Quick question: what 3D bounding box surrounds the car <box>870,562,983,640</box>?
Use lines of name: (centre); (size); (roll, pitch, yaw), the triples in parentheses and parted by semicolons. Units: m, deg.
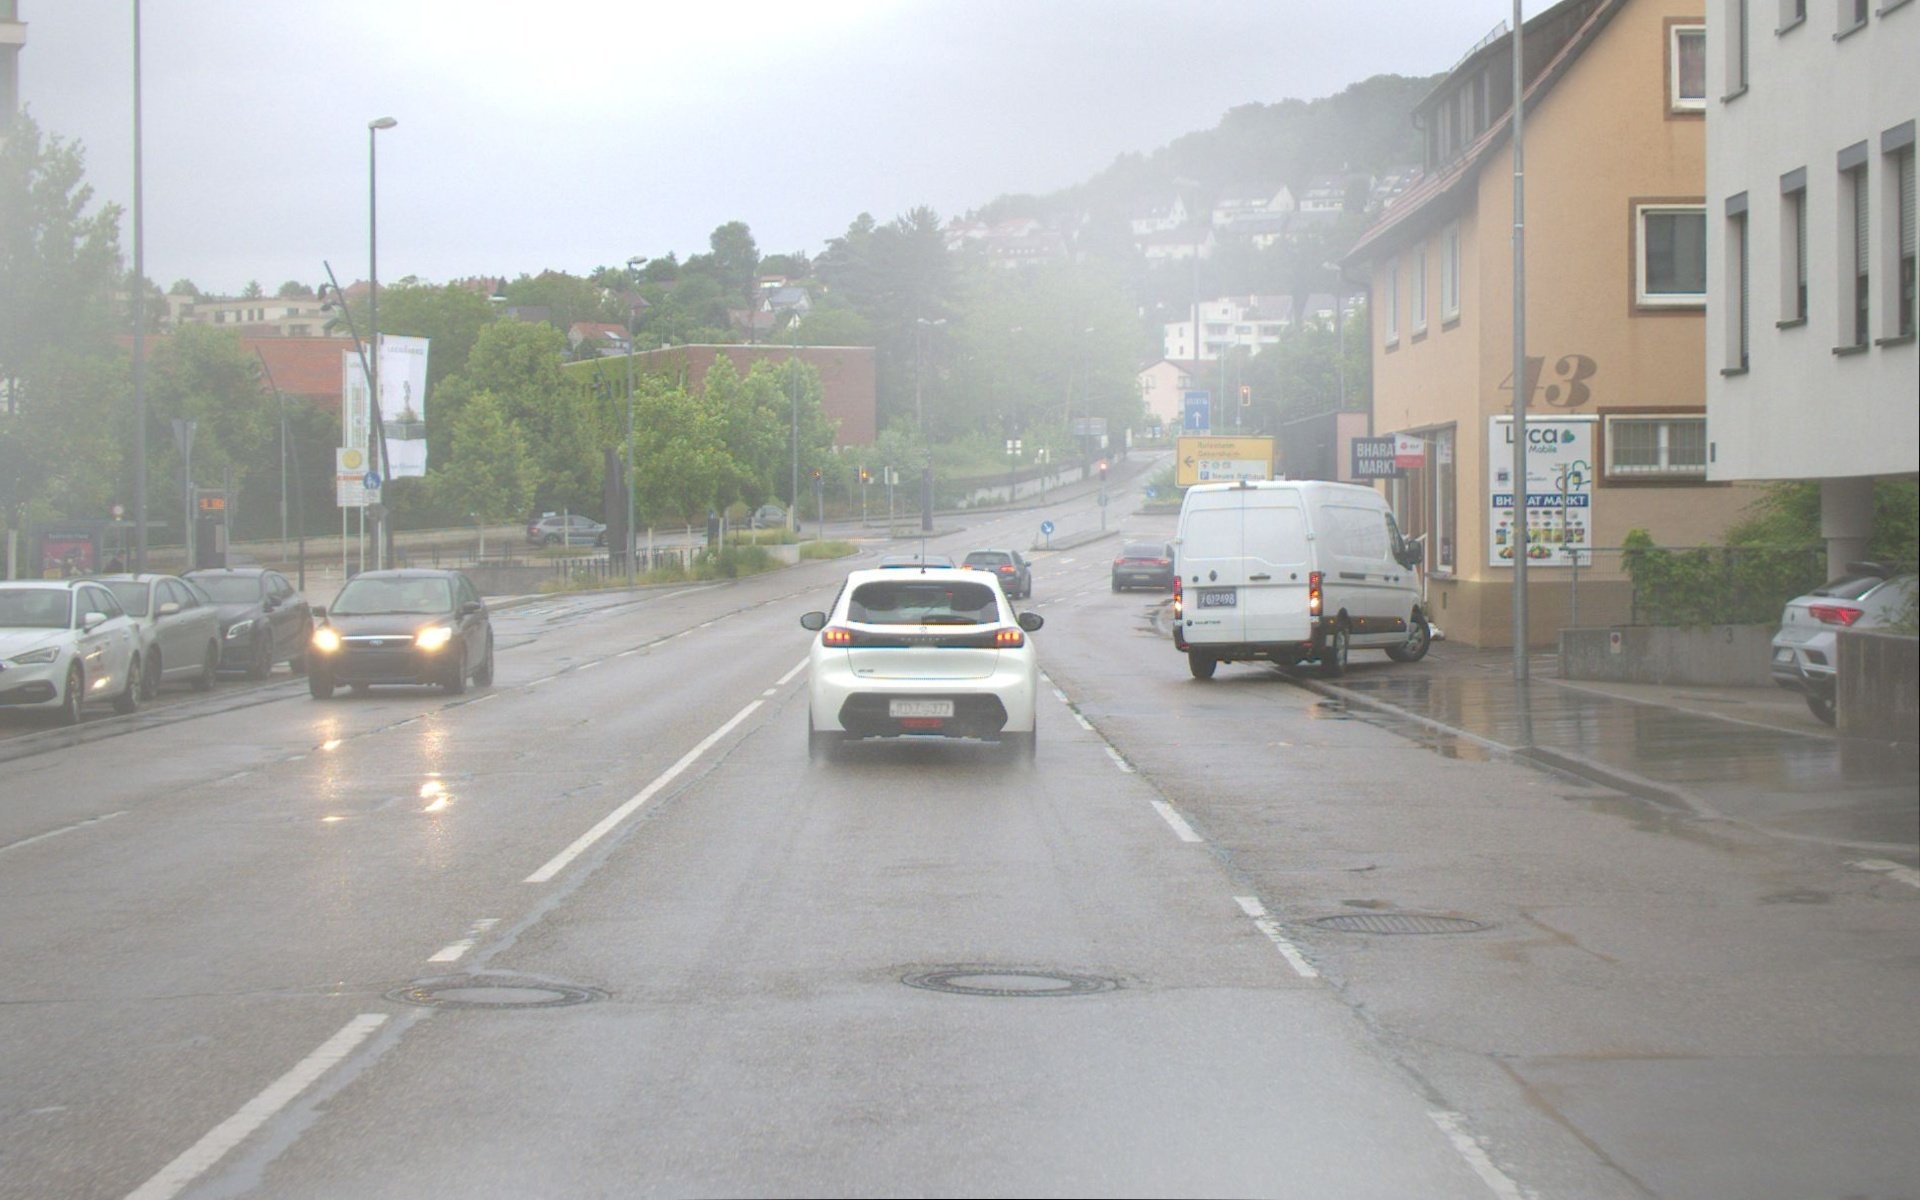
car: (-0.560, -0.003, 59.840); (1.741, 1.291, 3.333); (-1, 0, 3)

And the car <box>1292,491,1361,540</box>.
car: (11.959, -2.772, 111.985); (1.731, 1.492, 4.478); (-1, 2, 12)

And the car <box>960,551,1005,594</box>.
car: (0.623, -0.773, 97.286); (1.213, 1.152, 2.270); (-1, -1, -1)

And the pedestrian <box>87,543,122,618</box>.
pedestrian: (-20.078, -0.450, 80.705); (0.782, 1.739, 0.674); (-1, -1, -14)

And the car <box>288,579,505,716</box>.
car: (-6.656, 0.557, 41.021); (1.880, 1.518, 4.184); (-1, -1, 0)

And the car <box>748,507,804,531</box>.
car: (-9.123, -4.035, 170.695); (2.418, 1.153, 1.371); (-1, 0, -26)

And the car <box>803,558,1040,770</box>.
car: (-0.313, 0.497, 26.693); (1.691, 1.514, 3.933); (0, -1, -1)

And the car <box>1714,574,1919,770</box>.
car: (8.841, 0.735, 30.388); (3.791, 1.525, 1.820); (6, 1, -1)

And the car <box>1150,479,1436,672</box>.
car: (4.581, -0.282, 46.080); (2.293, 2.374, 6.618); (-1, -1, 19)

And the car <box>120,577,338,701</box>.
car: (-9.468, 0.501, 44.850); (1.691, 1.505, 4.577); (-1, -1, 2)

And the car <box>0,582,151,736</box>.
car: (-9.577, 0.588, 34.952); (1.795, 1.458, 4.478); (0, -1, -2)

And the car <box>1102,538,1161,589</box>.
car: (5.338, -1.151, 107.266); (1.734, 1.383, 3.353); (1, 4, 2)
